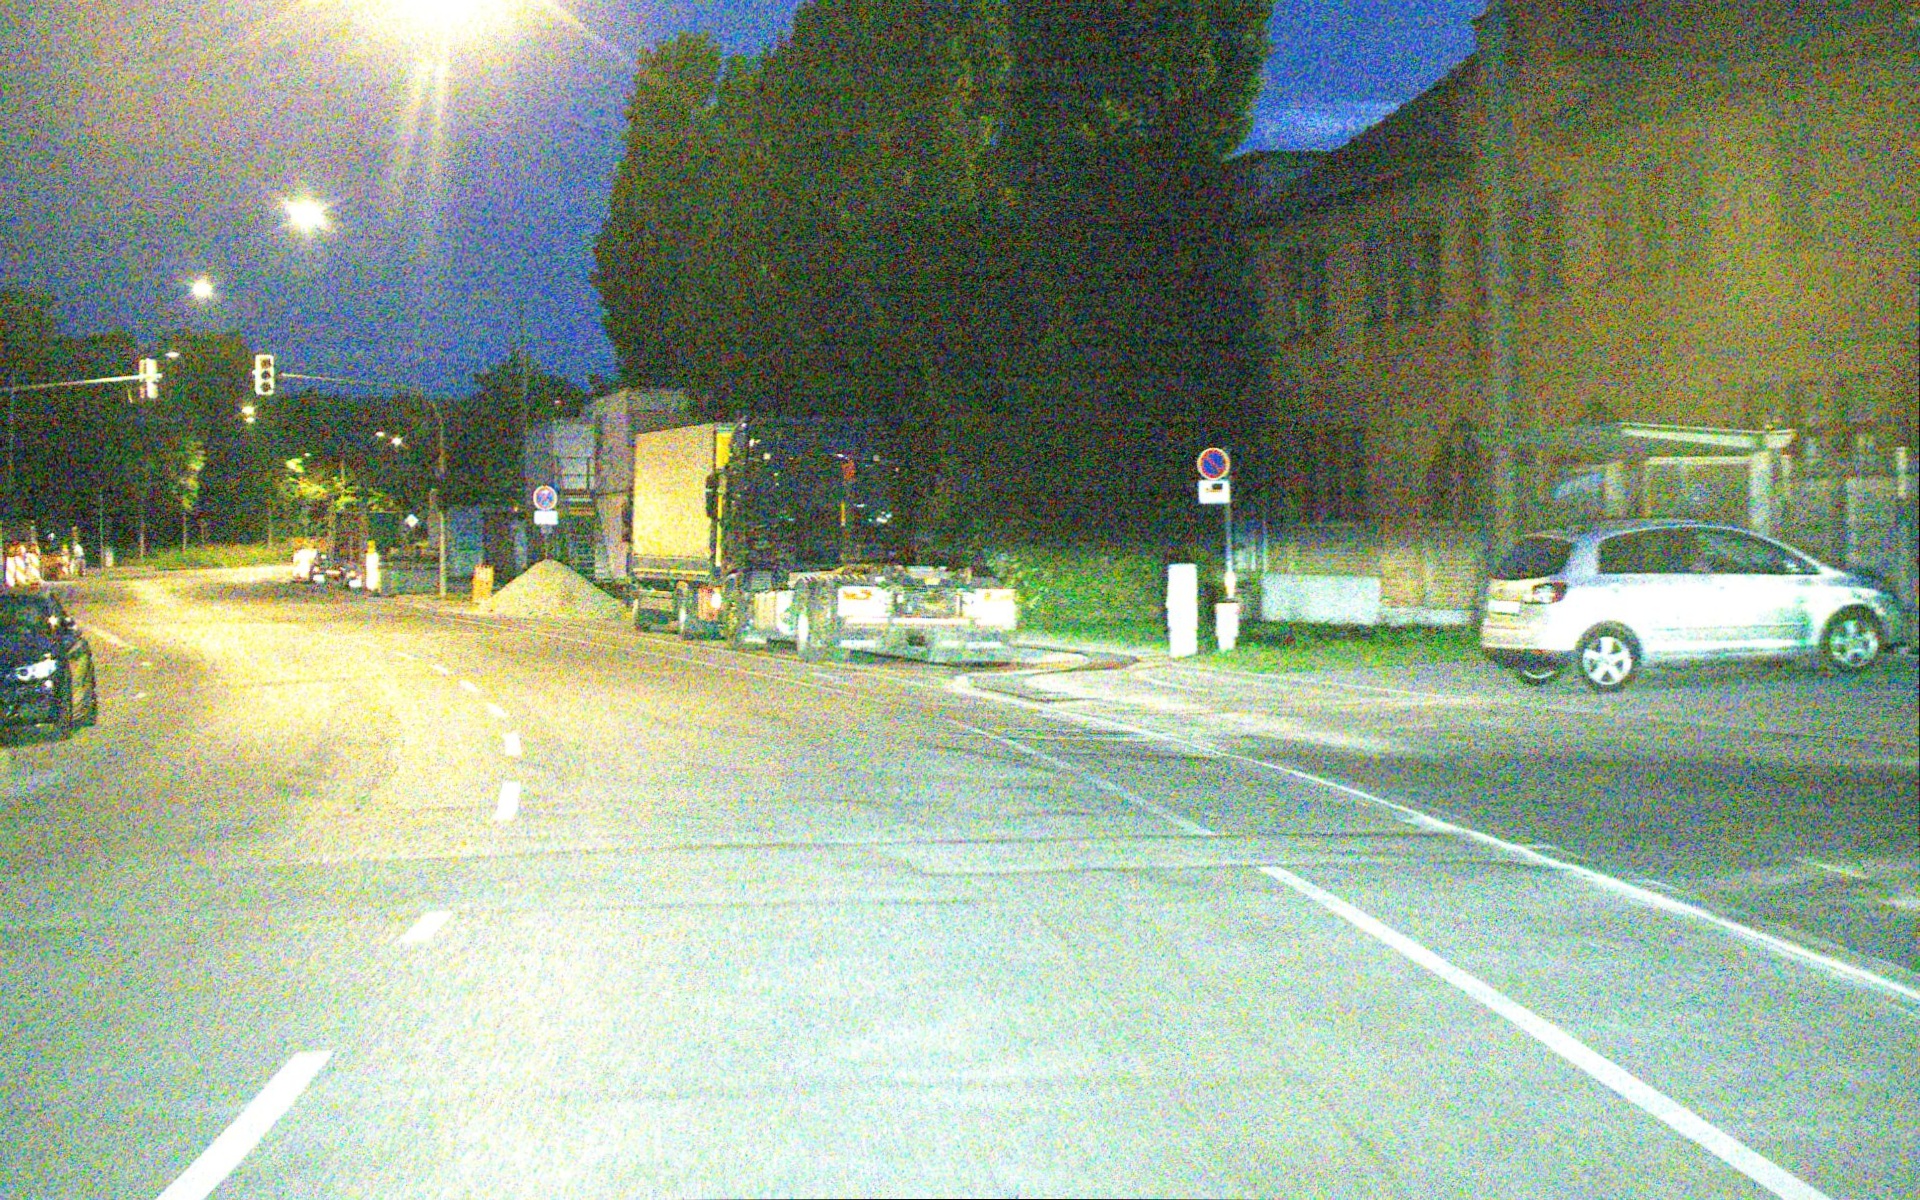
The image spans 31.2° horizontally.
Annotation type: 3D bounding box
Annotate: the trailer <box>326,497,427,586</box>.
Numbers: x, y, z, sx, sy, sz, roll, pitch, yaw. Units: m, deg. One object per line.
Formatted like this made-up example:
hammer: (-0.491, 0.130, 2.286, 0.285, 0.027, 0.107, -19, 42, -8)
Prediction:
trailer: (-19.428, -1.913, 114.243, 2.613, 2.836, 4.710, 1, 0, -18)

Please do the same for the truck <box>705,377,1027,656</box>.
truck: (-1.587, -1.200, 51.266, 2.754, 3.770, 9.140, -1, 1, -15)

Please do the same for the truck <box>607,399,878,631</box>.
truck: (-4.042, -1.456, 61.072, 2.754, 3.770, 10.229, -1, 1, -15)

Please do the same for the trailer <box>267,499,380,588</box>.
trailer: (-23.792, -2.072, 128.265, 3.480, 3.208, 4.866, 1, 0, -18)

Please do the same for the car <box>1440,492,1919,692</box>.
car: (7.048, -0.111, 33.191, 4.325, 1.640, 1.893, -3, 2, -15)

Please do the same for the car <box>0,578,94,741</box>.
car: (-9.068, 0.505, 31.878, 1.814, 1.366, 4.362, -1, 1, -12)
